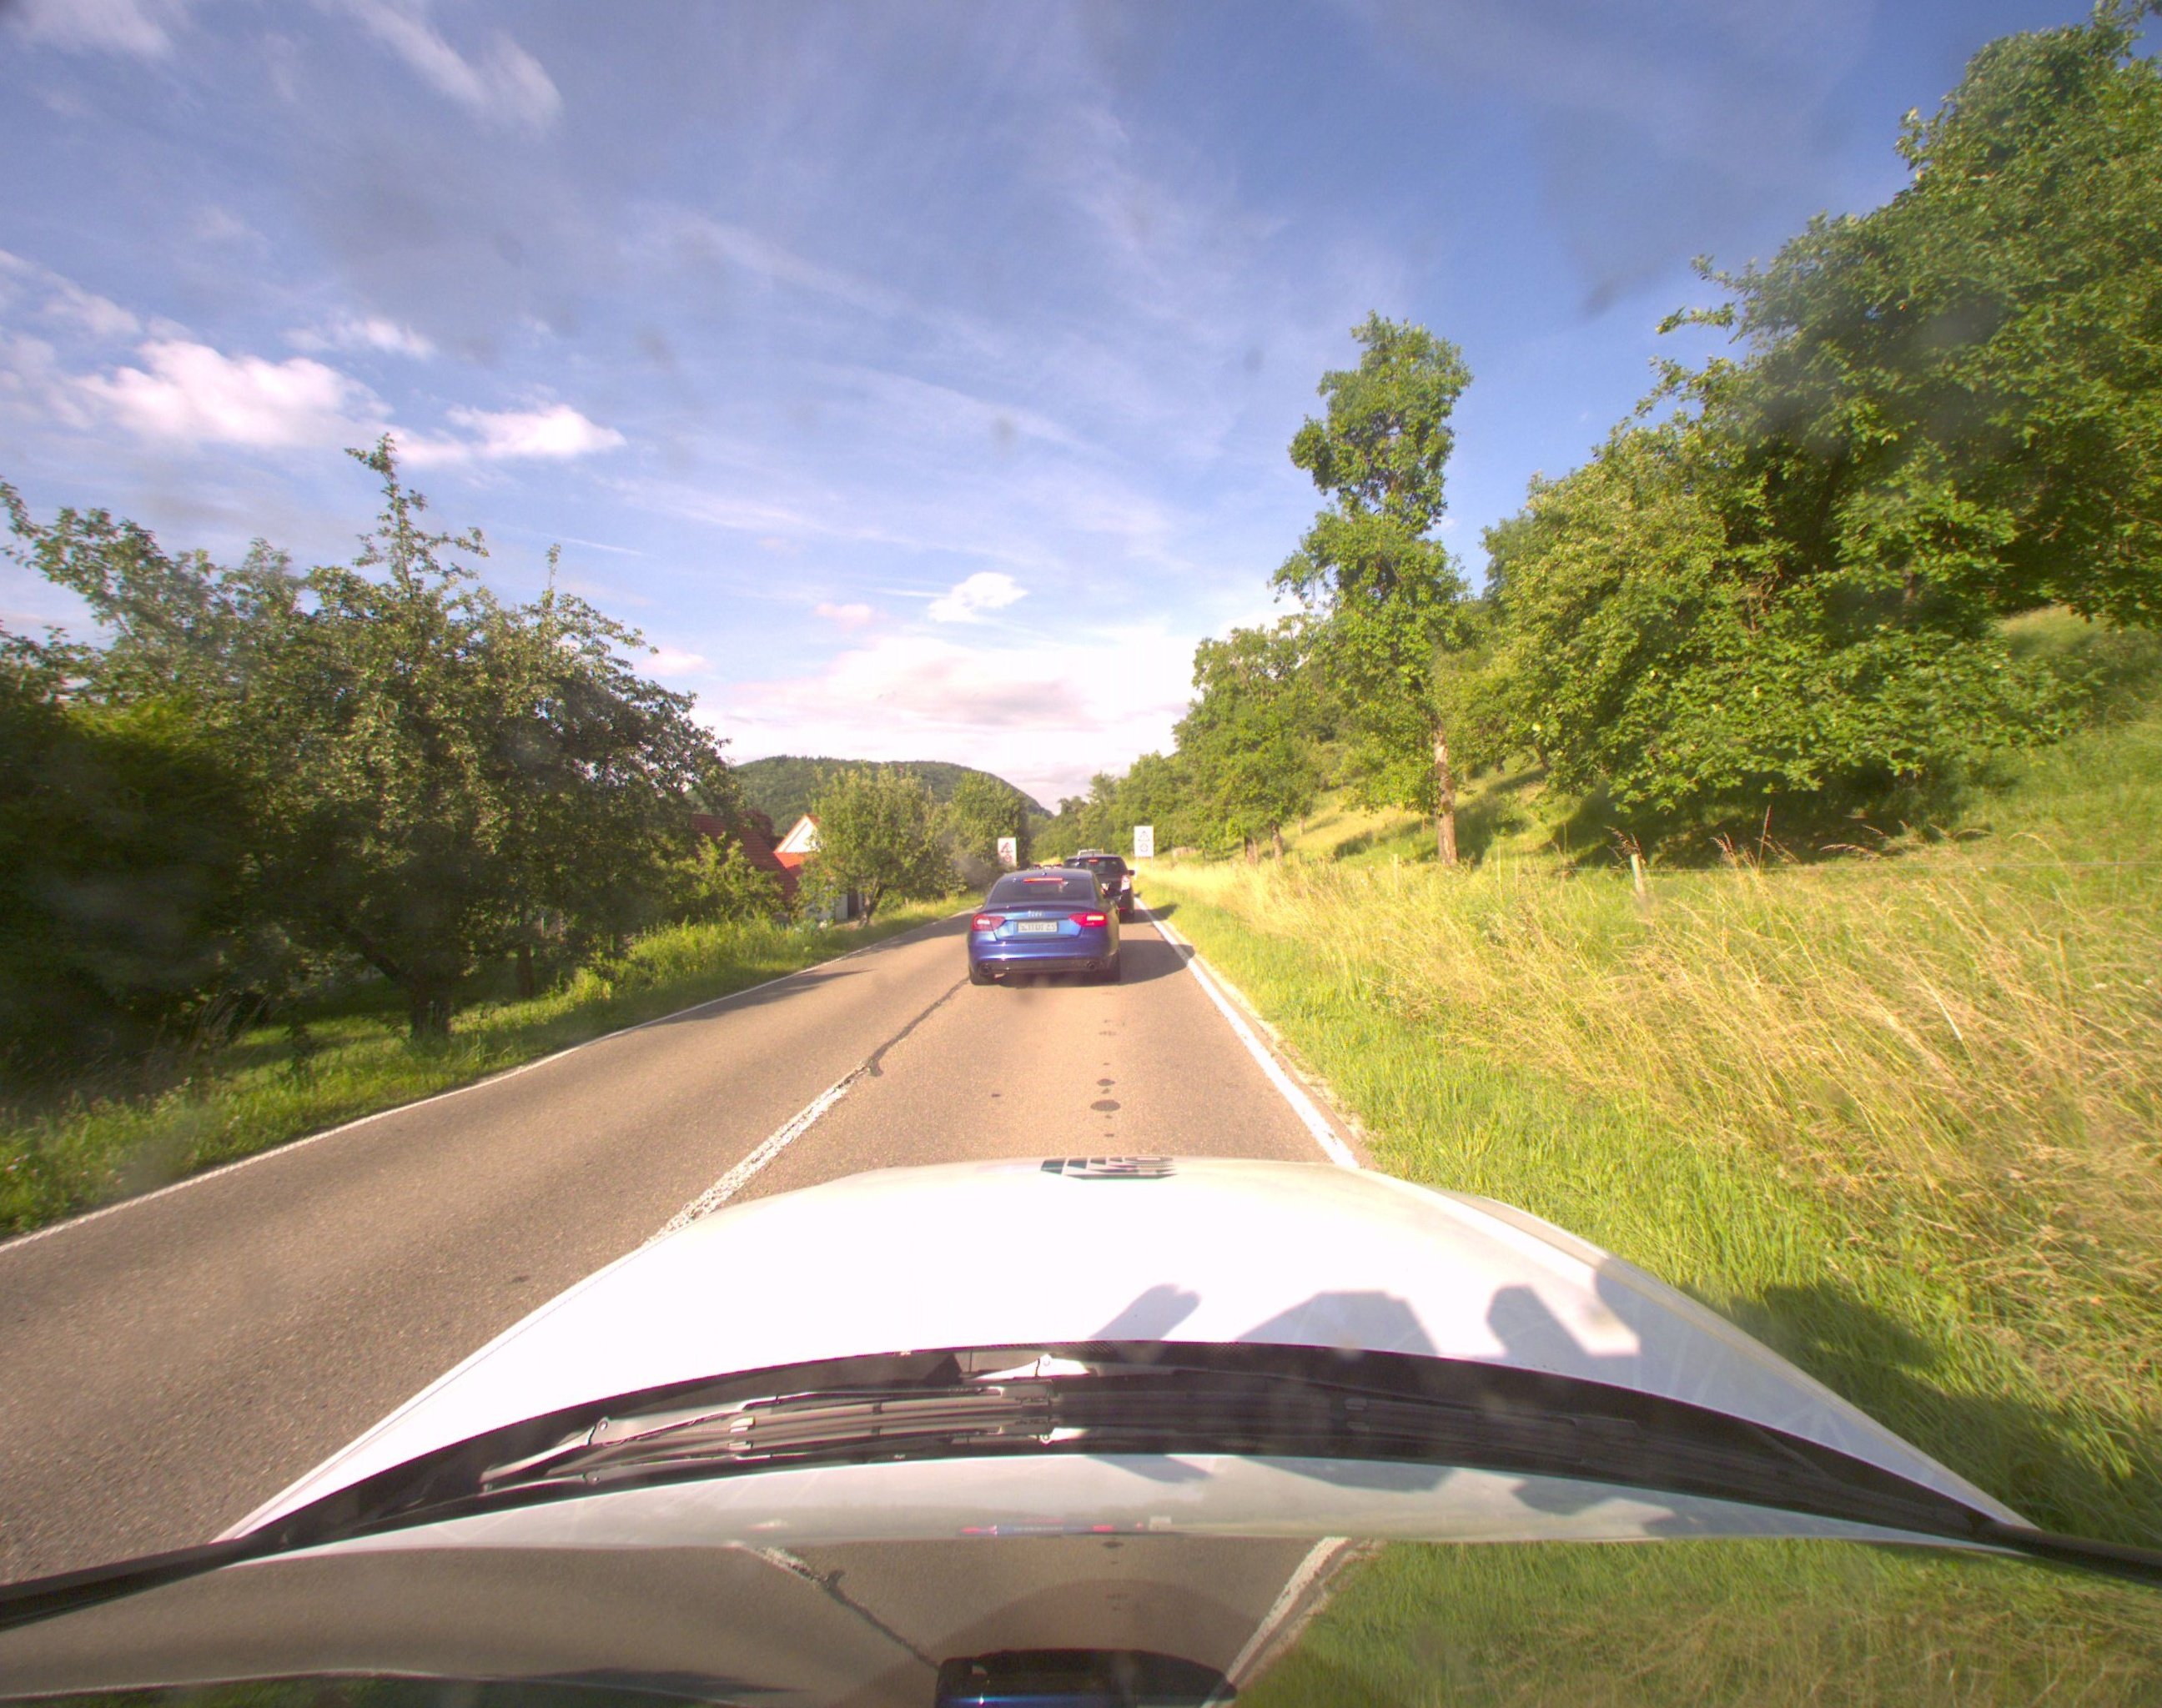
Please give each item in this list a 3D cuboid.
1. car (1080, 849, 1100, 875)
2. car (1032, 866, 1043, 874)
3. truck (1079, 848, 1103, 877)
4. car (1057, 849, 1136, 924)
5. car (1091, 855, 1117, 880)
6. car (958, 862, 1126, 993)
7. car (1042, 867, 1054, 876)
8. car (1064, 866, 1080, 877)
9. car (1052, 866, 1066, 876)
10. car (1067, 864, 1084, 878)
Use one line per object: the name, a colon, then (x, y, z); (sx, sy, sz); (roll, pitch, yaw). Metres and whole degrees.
car: (0.809, 0.751, 78.075); (1.787, 2.453, 3.917); (1, 0, -1)
car: (-8.524, 3.093, 158.476); (1.559, 1.496, 3.764); (1, 0, -11)
truck: (0.846, 0.714, 68.514); (1.943, 2.345, 5.094); (1, 0, 1)
car: (0.383, 0.714, 19.621); (1.686, 1.624, 3.790); (-1, 0, 1)
car: (1.591, 0.914, 55.715); (1.686, 1.624, 3.790); (-1, 0, 1)
car: (-0.359, 0.827, 11.039); (1.799, 1.382, 4.216); (-2, -1, 2)
car: (-5.812, 3.009, 143.676); (1.559, 1.496, 3.765); (1, 0, -10)
car: (-1.241, 2.380, 110.999); (1.746, 1.496, 3.769); (1, 0, -7)
car: (-3.587, 2.752, 131.115); (1.748, 1.496, 3.766); (1, 0, -9)
car: (-0.639, 1.981, 94.760); (1.745, 1.496, 3.772); (1, 0, -4)
